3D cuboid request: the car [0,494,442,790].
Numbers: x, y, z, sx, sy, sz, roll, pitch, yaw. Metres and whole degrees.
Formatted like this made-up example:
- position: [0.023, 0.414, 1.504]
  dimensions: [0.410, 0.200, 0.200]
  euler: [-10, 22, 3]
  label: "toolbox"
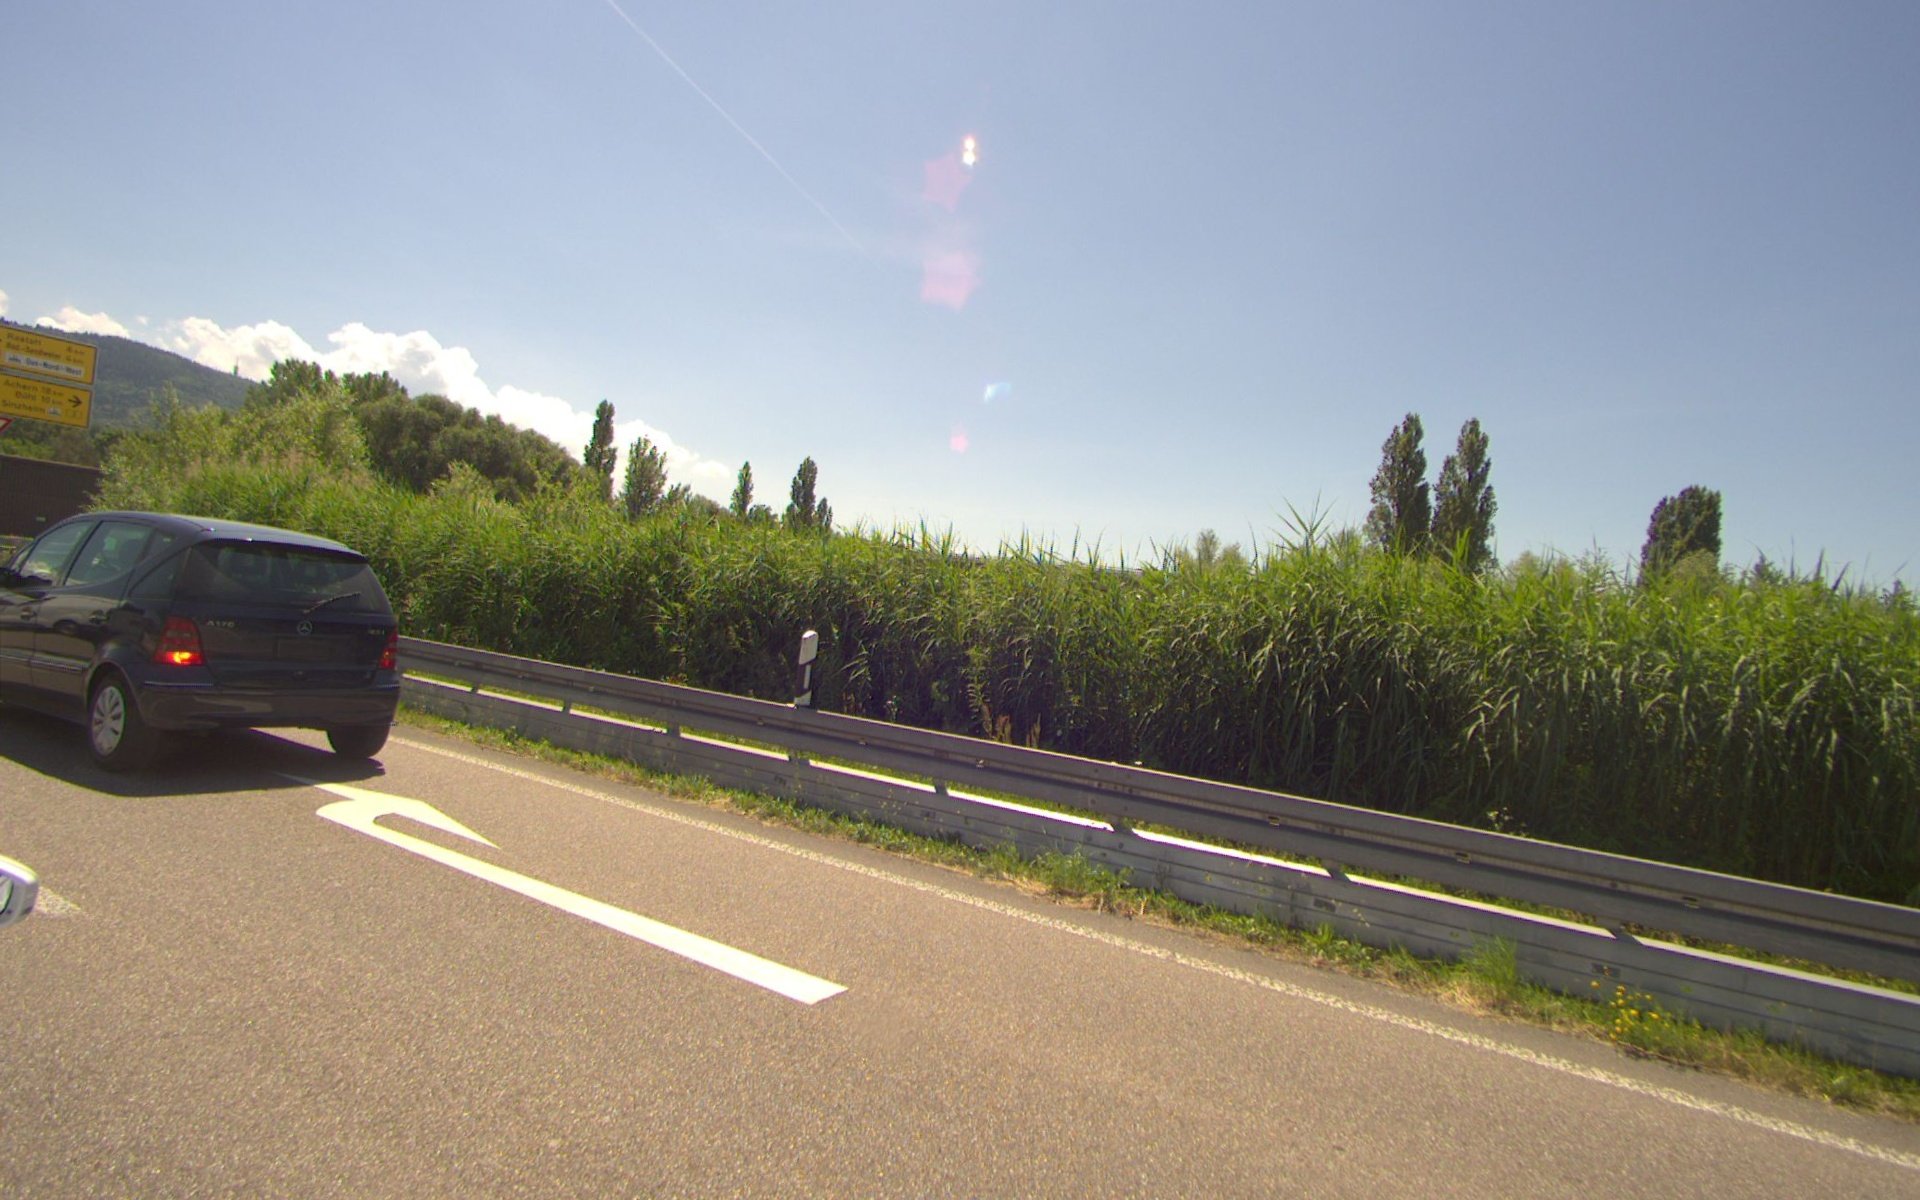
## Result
- position: [-5.716, 0.206, 7.350]
  dimensions: [3.493, 1.619, 1.672]
  euler: [6, -2, 30]
  label: "car"
